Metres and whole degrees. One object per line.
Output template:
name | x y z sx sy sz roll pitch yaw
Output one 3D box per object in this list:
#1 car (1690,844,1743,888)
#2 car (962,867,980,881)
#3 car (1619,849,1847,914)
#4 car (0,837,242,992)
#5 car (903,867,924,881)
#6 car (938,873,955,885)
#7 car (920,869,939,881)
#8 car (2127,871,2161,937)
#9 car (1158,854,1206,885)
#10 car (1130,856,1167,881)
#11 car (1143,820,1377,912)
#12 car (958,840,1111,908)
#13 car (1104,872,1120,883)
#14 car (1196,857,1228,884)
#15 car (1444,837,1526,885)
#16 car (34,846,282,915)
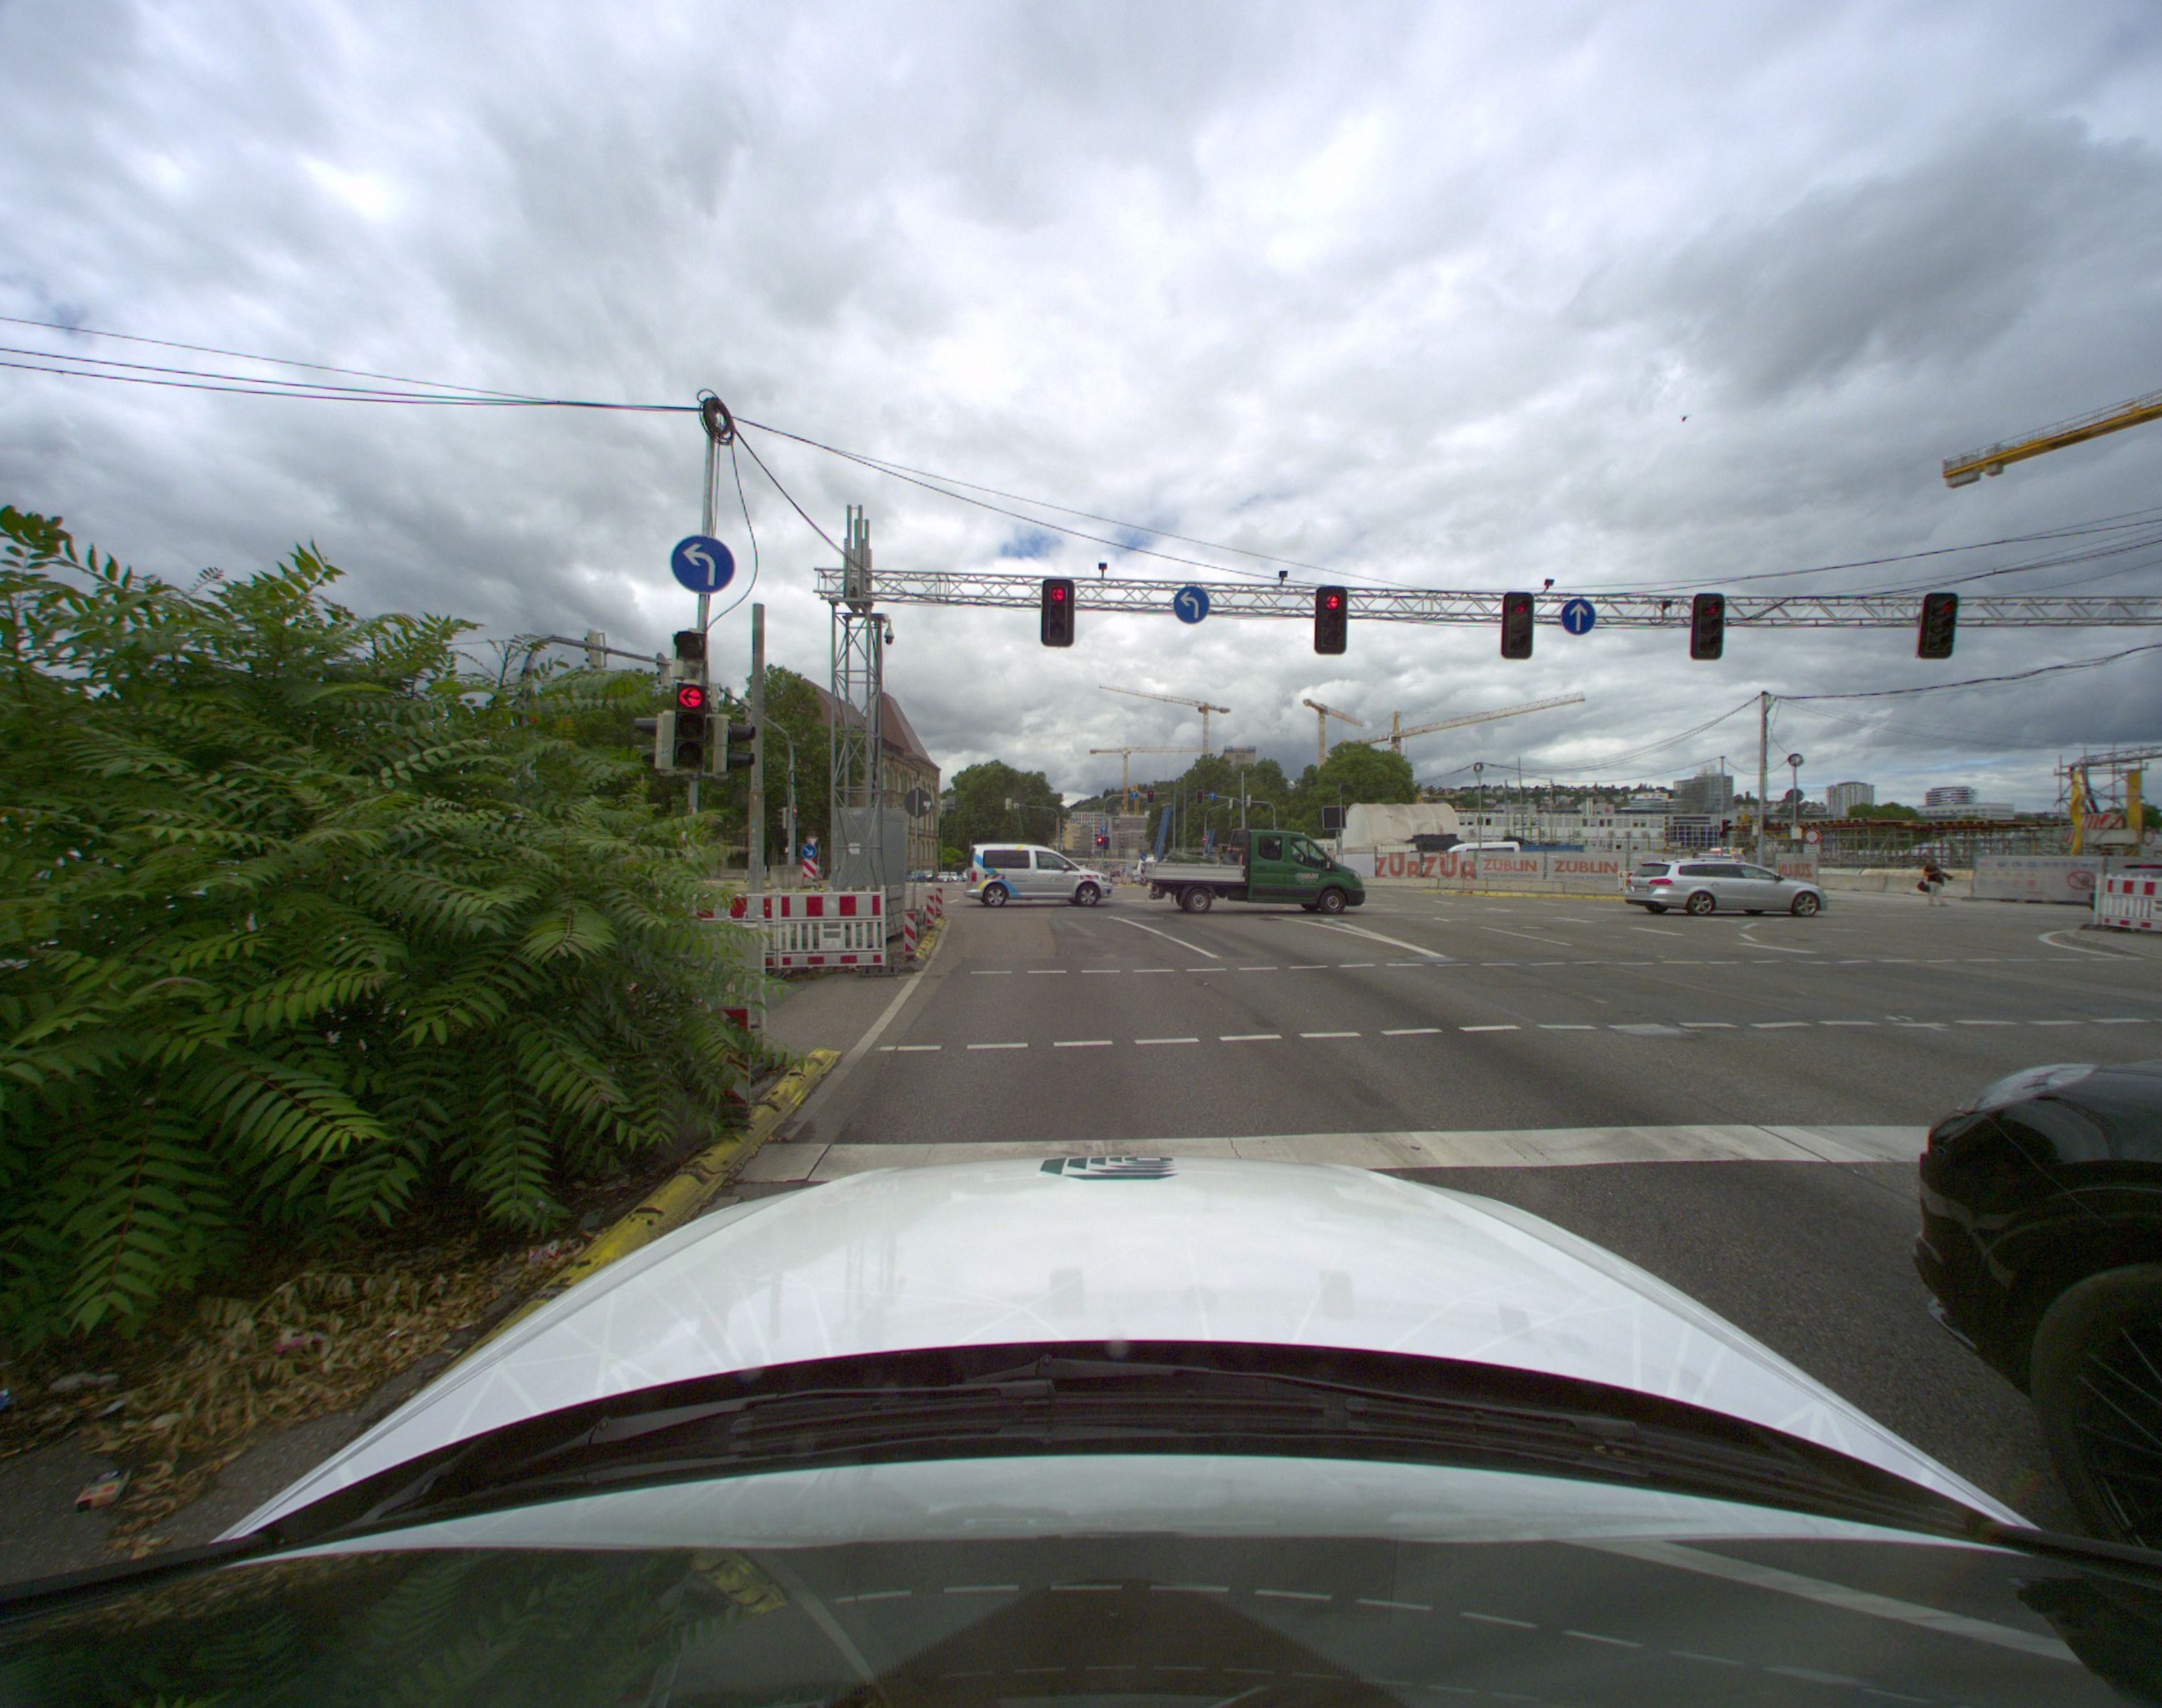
car | 30.134 0.554 38.687 1.755 1.954 3.146 -1 -1 34
car | -11.613 2.081 86.069 1.673 1.398 3.677 0 0 -4
car | 17.149 0.715 21.562 4.694 1.625 1.681 0 -1 0
car | -12.923 0.681 11.211 3.950 1.746 1.848 0 0 45
car | -17.899 2.134 87.081 1.673 1.398 3.677 0 0 -4
car | -16.628 3.075 100.856 1.673 1.398 3.677 0 0 -4
car | -17.392 2.390 93.500 1.673 1.398 3.677 0 0 -4
car | 29.501 1.247 20.031 4.787 1.625 2.022 0 -1 3
car | 5.961 0.925 48.483 1.830 1.746 4.244 0 -1 -8
car | 4.570 0.999 55.568 1.814 1.625 3.992 0 -1 -5
car | 4.647 0.300 21.849 5.745 2.305 2.301 0 -1 -3
car | -1.416 0.551 24.034 4.272 1.882 1.822 0 -1 -13
car | 4.223 3.159 111.159 1.673 1.398 3.676 0 0 -6
car | 8.481 1.038 52.990 1.670 1.702 3.375 0 -1 2
car | 23.232 0.410 46.961 3.957 2.661 1.688 -1 -1 15
car | -22.929 0.632 20.360 4.041 1.625 1.829 0 -1 -1
